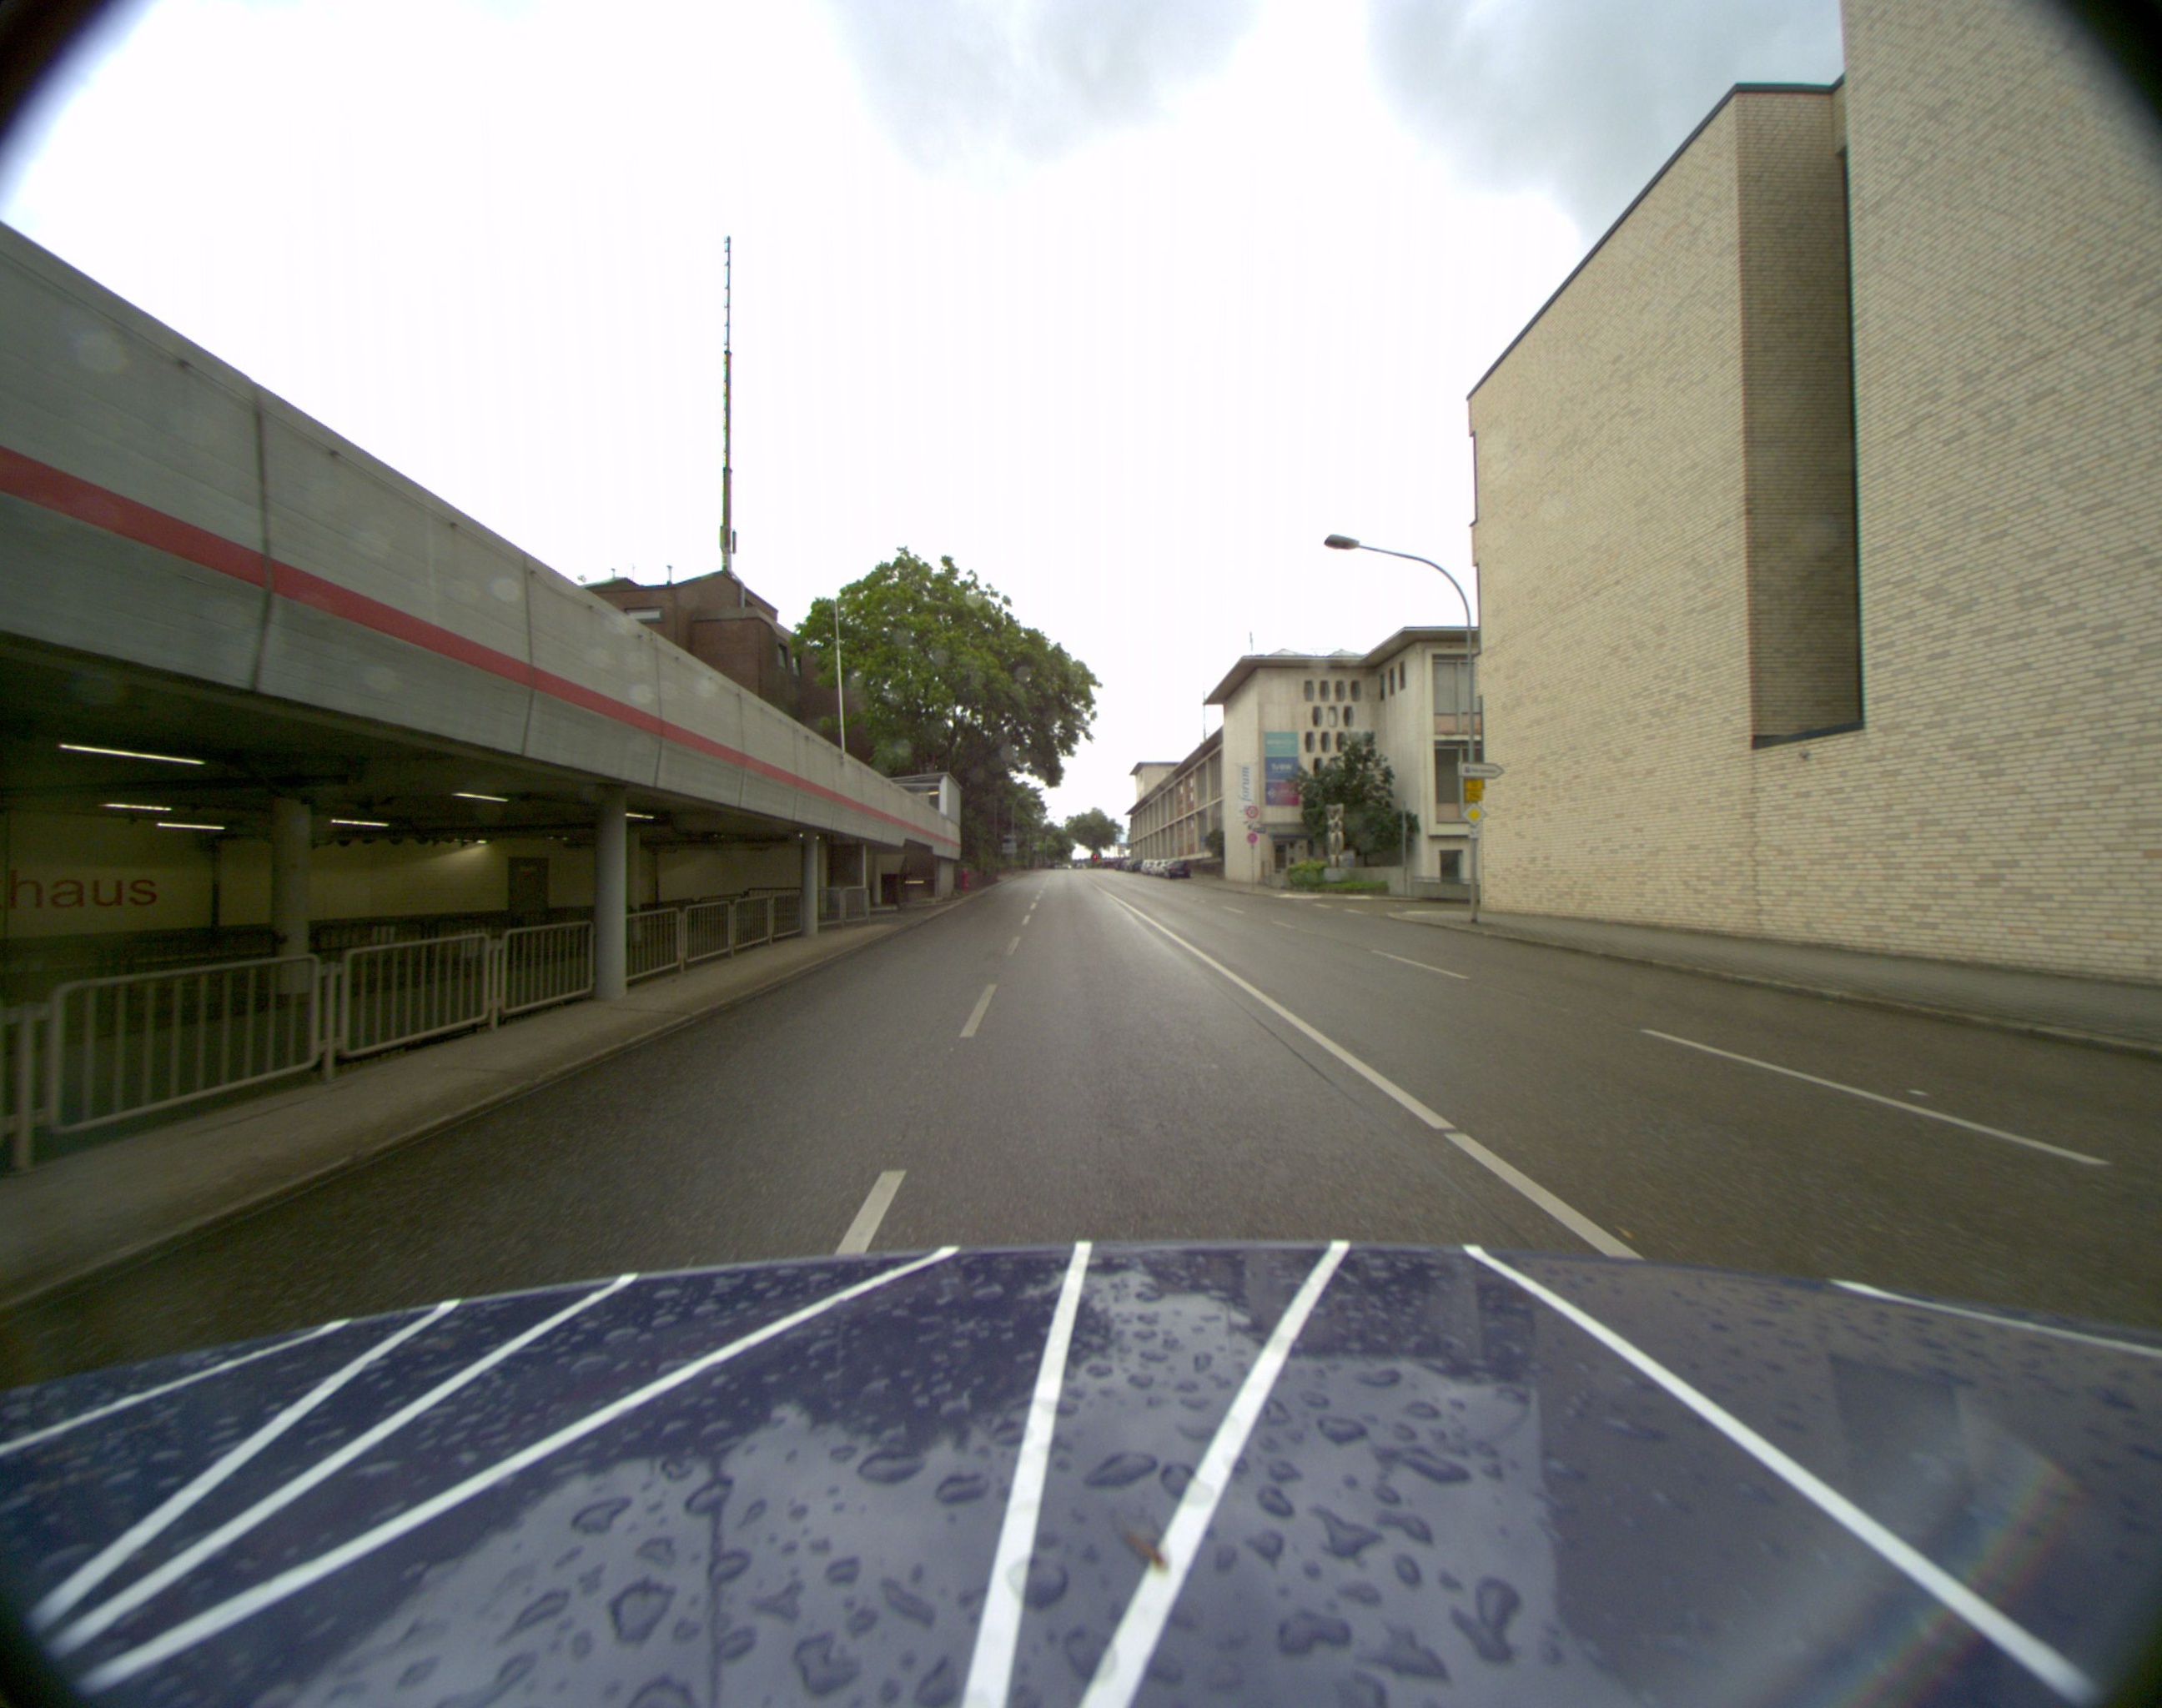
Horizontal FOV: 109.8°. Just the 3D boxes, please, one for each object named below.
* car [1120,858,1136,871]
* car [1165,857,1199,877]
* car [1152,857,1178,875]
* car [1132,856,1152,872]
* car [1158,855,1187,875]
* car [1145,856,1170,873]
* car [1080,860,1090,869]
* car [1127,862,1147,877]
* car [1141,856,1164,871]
[{"bbox_3d":[7.031,1.519,114.372,1.999,1.637,3.998,-4,2,-2],"label":"car"},{"bbox_3d":[8.313,1.045,62.788,1.999,1.520,3.998,-3,1,-3],"label":"car"},{"bbox_3d":[8.018,1.139,73.072,1.998,1.503,3.999,-3,1,0],"label":"car"},{"bbox_3d":[7.445,1.188,93.286,1.999,1.701,3.999,-3,1,-2],"label":"car"},{"bbox_3d":[8.159,0.959,68.104,1.999,1.632,3.999,-3,1,-1],"label":"car"},{"bbox_3d":[7.899,1.063,78.512,1.999,1.482,4.185,-3,1,-1],"label":"car"},{"bbox_3d":[0.918,2.599,183.681,1.806,2.002,3.997,-3,1,-7],"label":"car"},{"bbox_3d":[7.280,1.975,99.037,1.999,1.724,3.998,-3,1,-3],"label":"car"},{"bbox_3d":[7.894,1.074,84.511,1.999,1.521,3.998,2,1,-2],"label":"car"}]
